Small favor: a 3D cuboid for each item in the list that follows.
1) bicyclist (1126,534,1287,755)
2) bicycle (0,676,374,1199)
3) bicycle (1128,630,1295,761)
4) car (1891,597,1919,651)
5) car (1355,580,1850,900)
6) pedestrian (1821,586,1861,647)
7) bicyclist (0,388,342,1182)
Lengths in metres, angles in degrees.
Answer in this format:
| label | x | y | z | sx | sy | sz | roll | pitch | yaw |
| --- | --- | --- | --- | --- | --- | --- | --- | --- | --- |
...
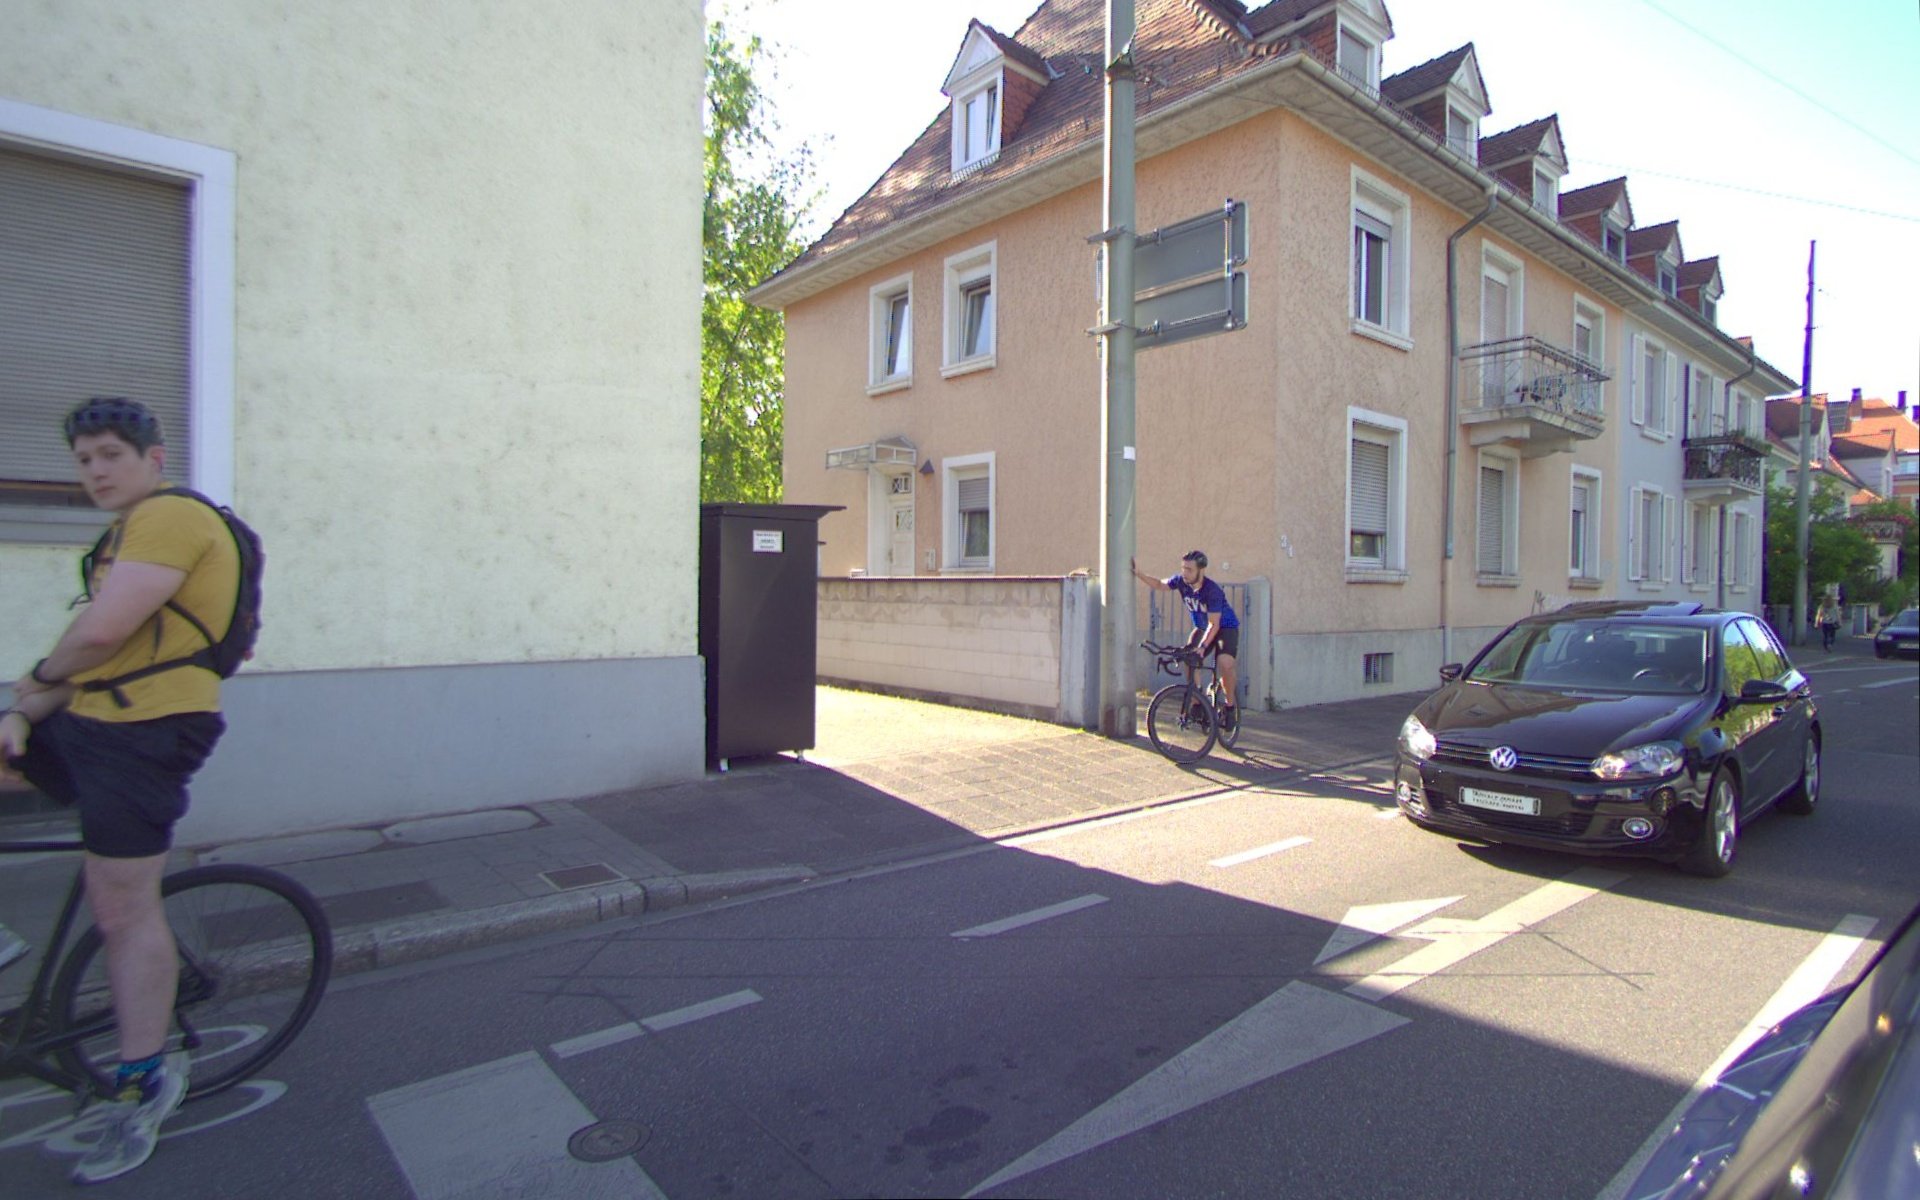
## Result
| label | x | y | z | sx | sy | sz | roll | pitch | yaw |
| --- | --- | --- | --- | --- | --- | --- | --- | --- | --- |
| bicyclist | 2.281 | 0.362 | 9.436 | 0.831 | 1.887 | 1.076 | 0 | 4 | -40 |
| bicycle | -2.479 | 0.845 | 2.537 | 1.669 | 1.180 | 0.572 | 0 | 1 | -41 |
| bicycle | 2.314 | 0.819 | 9.211 | 1.669 | 1.003 | 0.572 | 0 | 4 | -41 |
| car | 26.696 | 0.629 | 27.346 | 3.796 | 1.382 | 1.648 | 0 | 1 | -38 |
| car | 4.537 | 0.660 | 6.896 | 4.030 | 1.541 | 1.761 | 0 | 1 | -41 |
| pedestrian | 24.909 | 0.453 | 28.608 | 1.079 | 1.682 | 0.694 | 0 | 0 | -41 |
| bicyclist | -2.303 | 0.423 | 2.702 | 1.018 | 1.840 | 0.653 | 0 | 1 | -41 |
